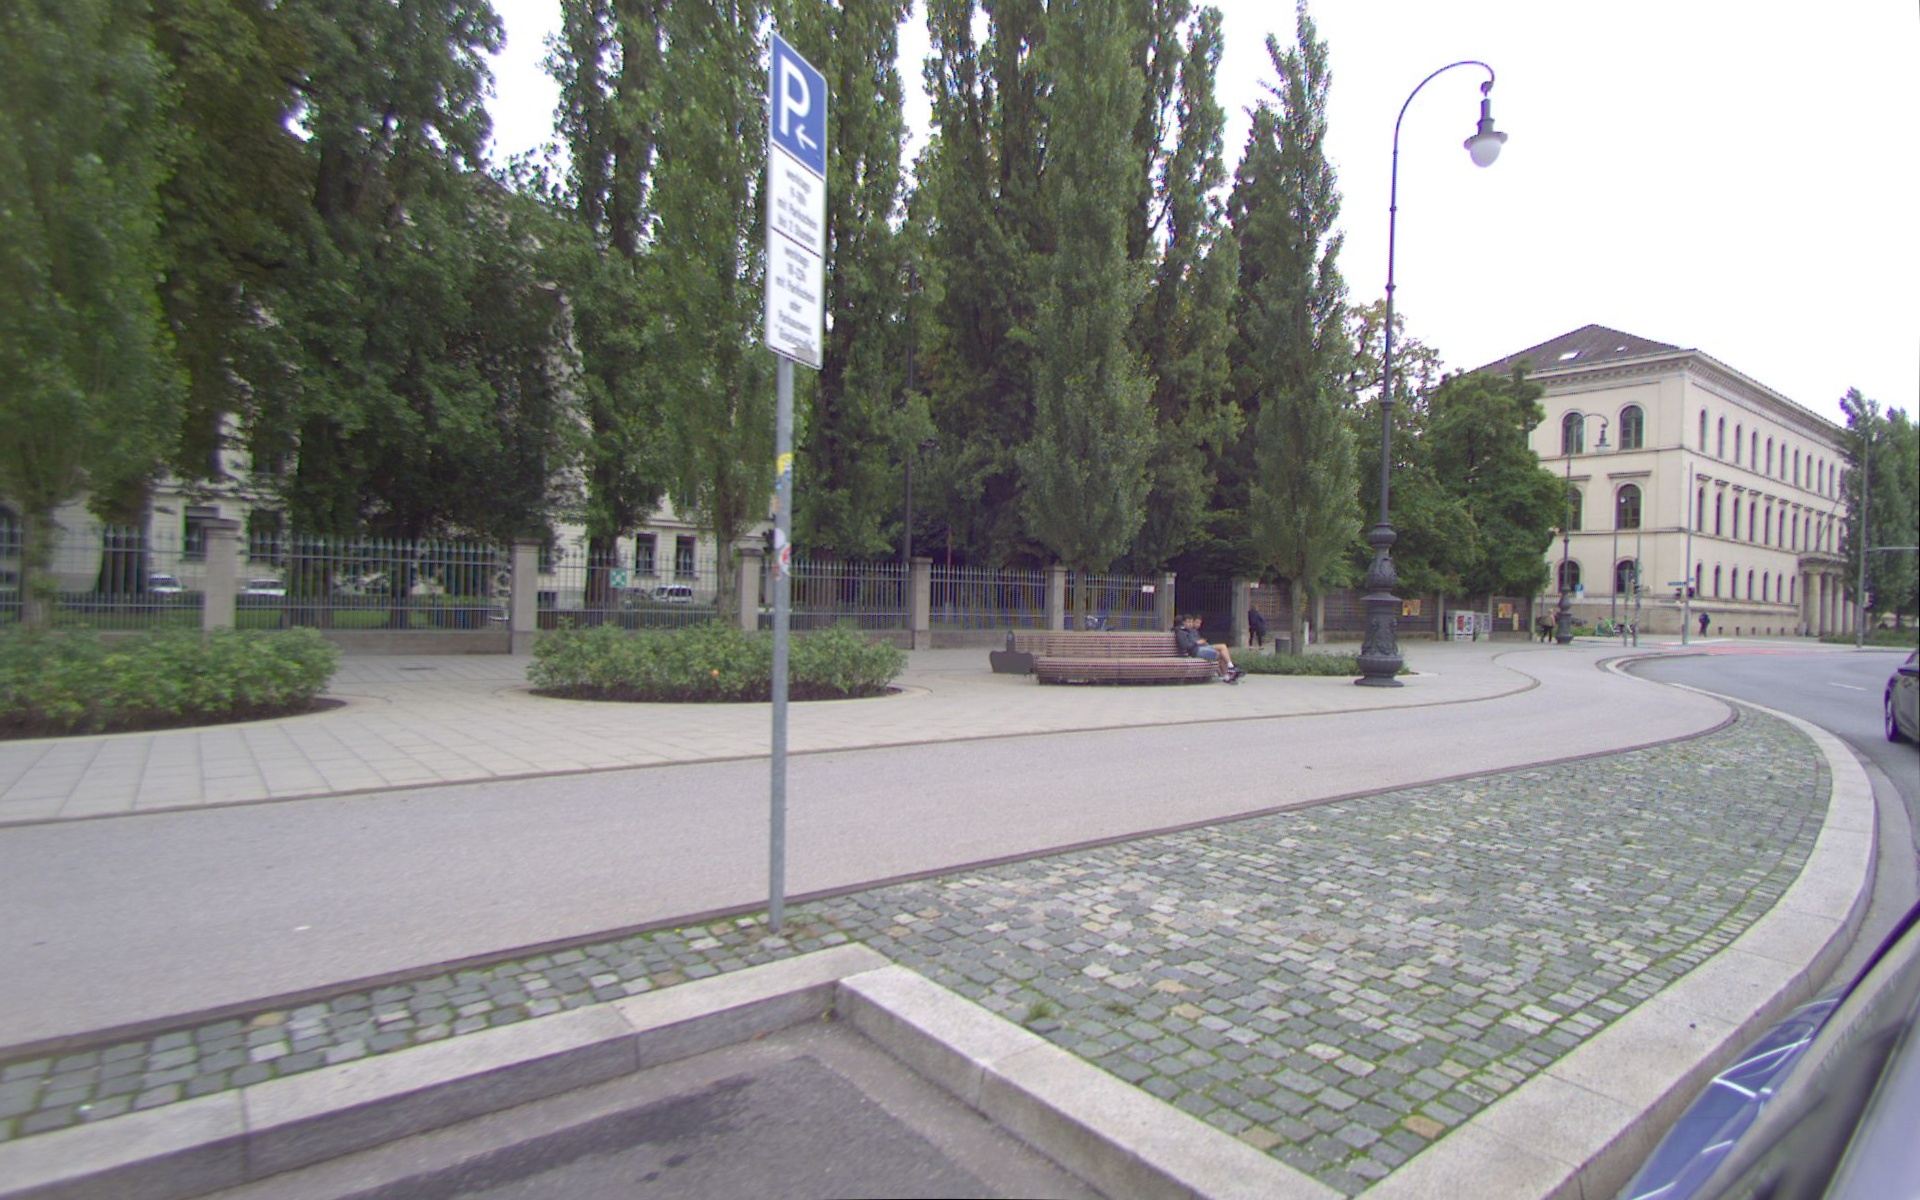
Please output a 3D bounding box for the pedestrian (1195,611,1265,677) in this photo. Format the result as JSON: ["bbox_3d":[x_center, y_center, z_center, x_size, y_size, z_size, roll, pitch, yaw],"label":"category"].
[{"bbox_3d":[5.268,0.835,19.731,1.252,1.232,0.571,1,-1,23],"label":"pedestrian"}]

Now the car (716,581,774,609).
[{"bbox_3d":[-12.871,-0.317,60.433,1.913,1.594,4.269,2,0,-33],"label":"car"}]

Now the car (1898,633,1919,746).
[{"bbox_3d":[12.602,1.104,11.946,1.914,1.345,4.349,0,-1,39],"label":"car"}]

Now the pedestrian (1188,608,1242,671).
[{"bbox_3d":[5.149,0.782,20.409,0.991,1.229,0.562,1,-1,22],"label":"pedestrian"}]

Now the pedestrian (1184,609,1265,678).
[{"bbox_3d":[4.976,0.791,19.024,1.355,1.222,0.802,1,-1,24],"label":"pedestrian"}]

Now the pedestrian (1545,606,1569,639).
[{"bbox_3d":[30.271,1.147,51.334,0.802,1.618,0.739,2,0,-37],"label":"pedestrian"}]

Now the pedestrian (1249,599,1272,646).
[{"bbox_3d":[10.569,0.795,35.606,0.527,1.640,0.591,2,-1,-38],"label":"pedestrian"}]

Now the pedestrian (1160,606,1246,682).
[{"bbox_3d":[4.364,0.774,18.167,1.318,1.291,0.800,1,-1,30],"label":"pedestrian"}]

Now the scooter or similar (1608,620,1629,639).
[{"bbox_3d":[42.336,1.906,65.070,1.625,1.156,0.568,2,0,-36],"label":"scooter or similar"}]

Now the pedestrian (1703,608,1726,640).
[{"bbox_3d":[50.131,1.591,67.251,0.984,2.039,0.945,2,0,-37],"label":"pedestrian"}]

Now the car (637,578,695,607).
[{"bbox_3d":[-17.034,-0.430,58.492,1.961,1.594,4.471,2,0,-33],"label":"car"}]

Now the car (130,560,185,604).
[{"bbox_3d":[-35.048,-0.798,44.262,1.767,1.791,3.998,2,0,-38],"label":"car"}]

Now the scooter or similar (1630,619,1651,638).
[{"bbox_3d":[43.408,1.830,64.559,1.625,1.156,0.568,2,0,-36],"label":"scooter or similar"}]

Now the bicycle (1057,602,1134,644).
[{"bbox_3d":[4.276,0.733,31.799,2.950,1.255,0.673,2,1,-44],"label":"bicycle"}]
